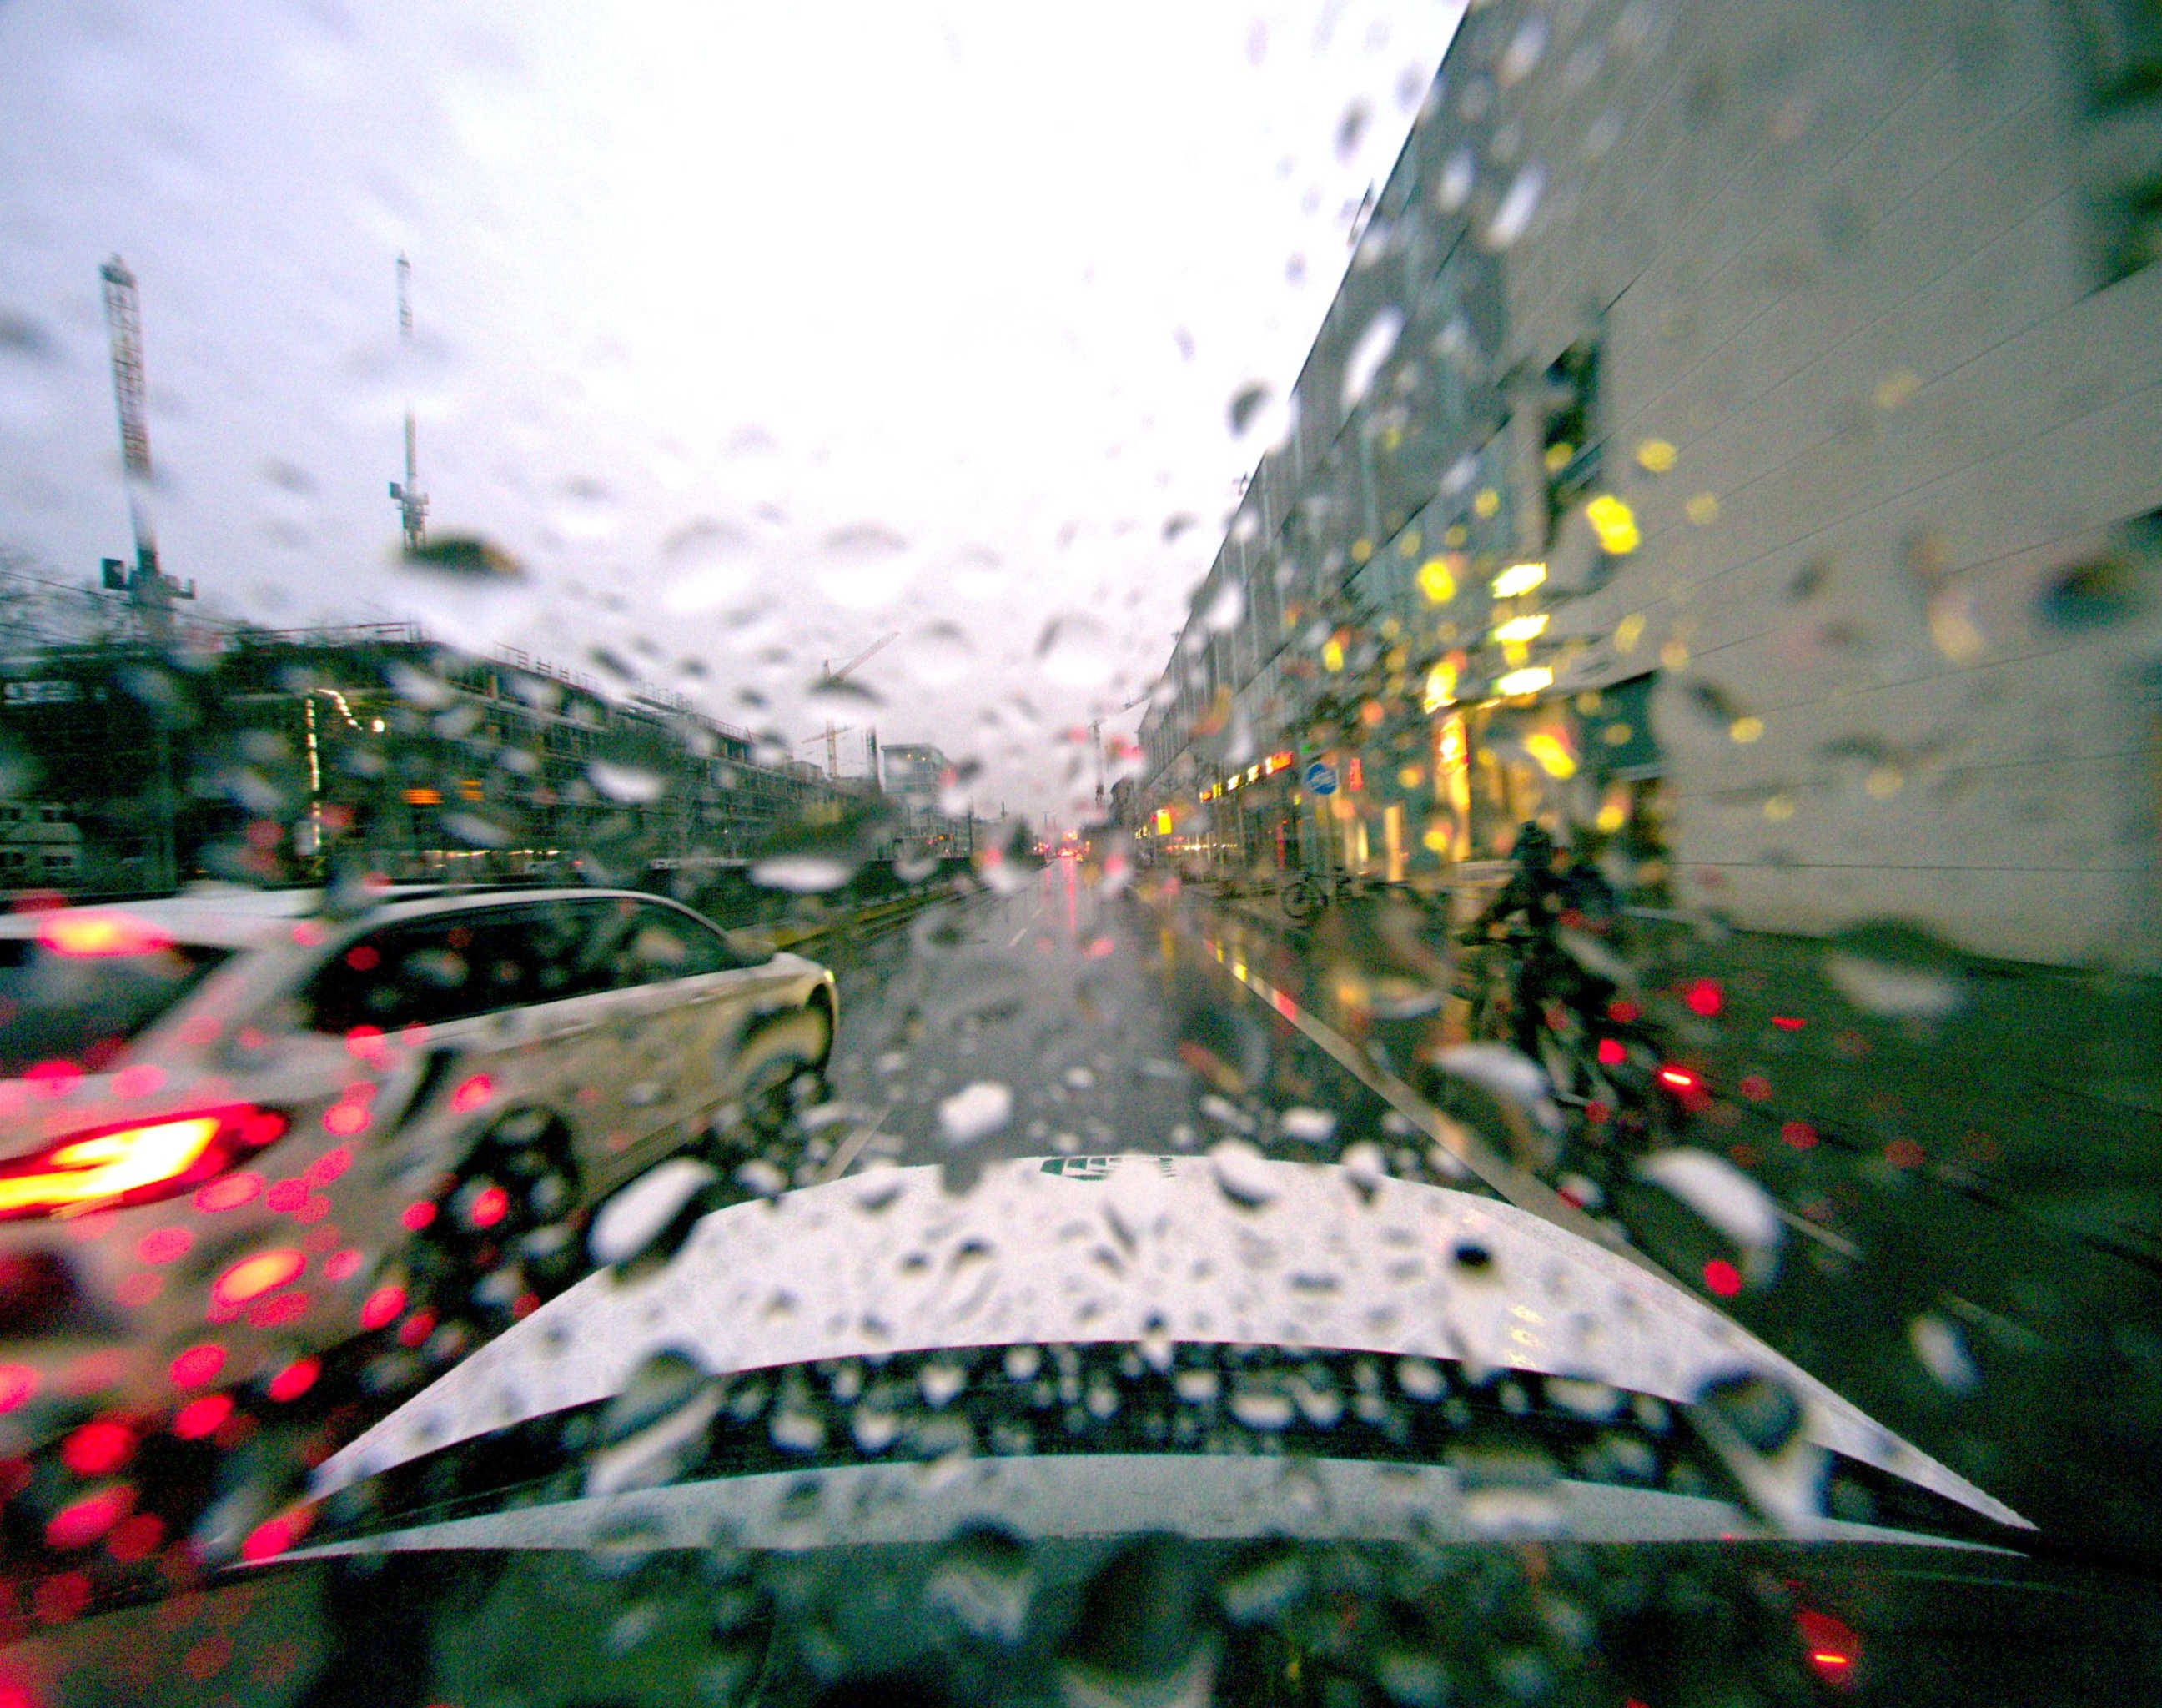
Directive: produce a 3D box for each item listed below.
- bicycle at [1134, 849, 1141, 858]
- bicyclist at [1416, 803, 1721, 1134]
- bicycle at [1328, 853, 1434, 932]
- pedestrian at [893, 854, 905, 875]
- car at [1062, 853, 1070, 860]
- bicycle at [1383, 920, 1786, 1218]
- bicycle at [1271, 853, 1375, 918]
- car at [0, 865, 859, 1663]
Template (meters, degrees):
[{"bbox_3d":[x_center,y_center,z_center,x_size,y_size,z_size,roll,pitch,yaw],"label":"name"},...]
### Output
[{"bbox_3d":[8.109,-0.094,117.092,0.680,1.222,1.904,-6,0,-1],"label":"bicycle"},{"bbox_3d":[2.407,0.521,4.202,0.938,1.463,1.068,-2,0,5],"label":"bicyclist"},{"bbox_3d":[5.196,0.653,14.164,0.670,1.261,1.540,-2,0,-43],"label":"bicycle"},{"bbox_3d":[-13.642,0.791,60.967,0.580,1.550,0.742,-2,0,10],"label":"pedestrian"},{"bbox_3d":[-3.797,0.530,205.923,1.895,1.641,4.000,-2,0,0],"label":"car"},{"bbox_3d":[2.449,0.970,4.424,0.938,0.999,2.243,-2,0,5],"label":"bicycle"},{"bbox_3d":[5.003,0.640,16.907,1.898,1.175,0.666,-4,0,-1],"label":"bicycle"},{"bbox_3d":[-2.766,0.859,4.054,1.845,1.465,4.947,-2,0,1],"label":"car"}]
